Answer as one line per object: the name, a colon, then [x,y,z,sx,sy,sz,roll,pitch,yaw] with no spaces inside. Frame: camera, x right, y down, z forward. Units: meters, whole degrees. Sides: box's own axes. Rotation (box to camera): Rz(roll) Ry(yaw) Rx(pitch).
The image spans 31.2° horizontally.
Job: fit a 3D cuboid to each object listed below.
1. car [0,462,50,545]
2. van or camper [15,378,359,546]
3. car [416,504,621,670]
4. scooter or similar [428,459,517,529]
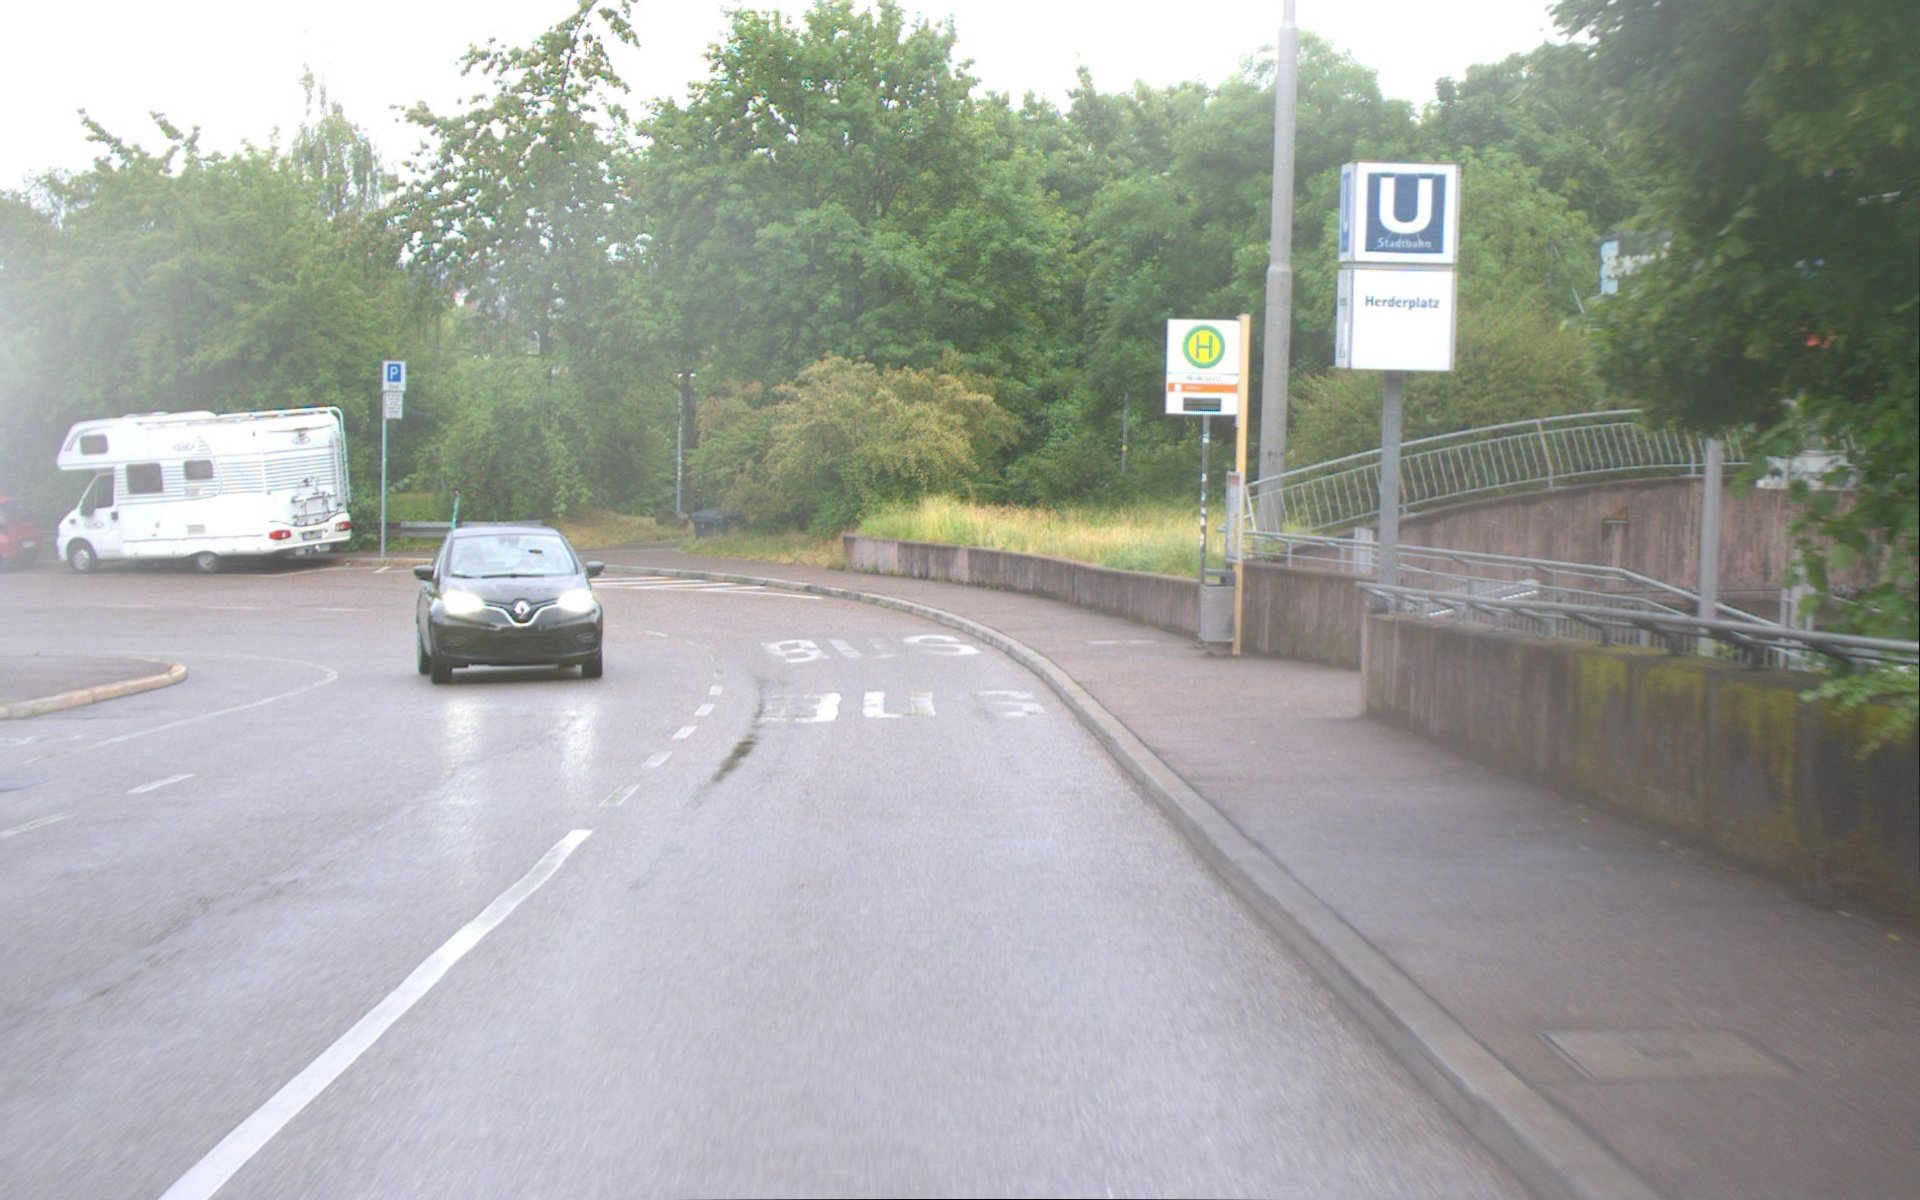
car: [-20.245,-1.861,68.206,3.795,1.455,1.646,-2,7,11]
van or camper: [-14.830,-2.636,65.830,6.271,2.933,2.394,1,8,30]
car: [-4.577,-0.183,35.260,1.767,1.515,3.977,-1,3,-12]
scooter or similar: [-9.292,-2.016,65.567,1.707,1.278,0.451,0,4,31]
